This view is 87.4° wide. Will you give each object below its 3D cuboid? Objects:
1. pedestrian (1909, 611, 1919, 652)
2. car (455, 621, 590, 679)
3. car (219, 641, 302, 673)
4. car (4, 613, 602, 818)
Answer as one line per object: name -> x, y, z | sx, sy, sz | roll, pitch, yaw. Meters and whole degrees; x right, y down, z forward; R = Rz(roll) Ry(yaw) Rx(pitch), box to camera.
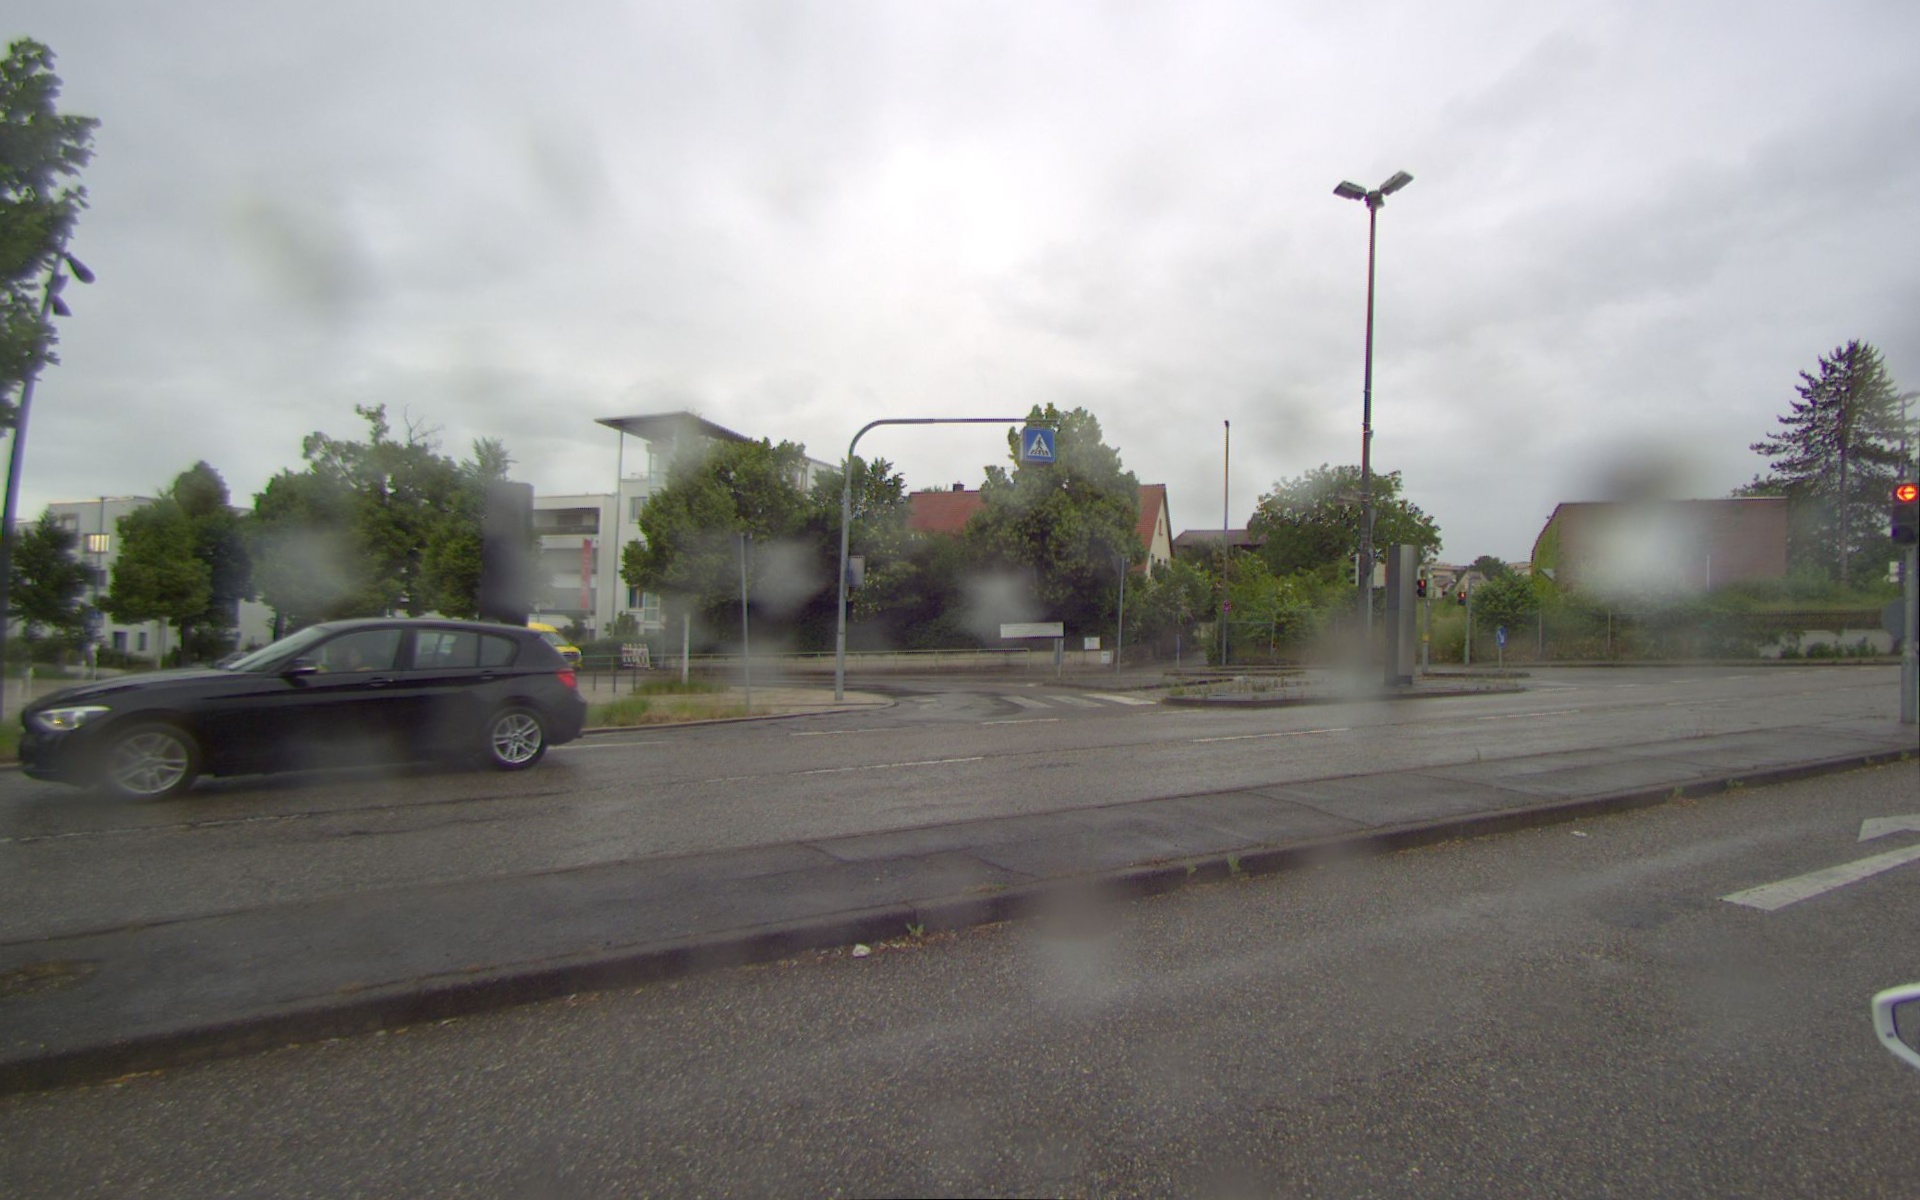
pedestrian -> 37.783, 1.217, 39.258 | 0.816, 1.588, 0.756 | 1, -3, -31
car -> -19.421, 2.243, 44.563 | 5.803, 2.441, 2.000 | -2, -3, 23
car -> -36.107, 2.948, 51.843 | 3.929, 1.559, 1.997 | -2, -3, 29
car -> -5.662, 0.868, 9.063 | 4.253, 1.408, 1.768 | 2, -2, -44
